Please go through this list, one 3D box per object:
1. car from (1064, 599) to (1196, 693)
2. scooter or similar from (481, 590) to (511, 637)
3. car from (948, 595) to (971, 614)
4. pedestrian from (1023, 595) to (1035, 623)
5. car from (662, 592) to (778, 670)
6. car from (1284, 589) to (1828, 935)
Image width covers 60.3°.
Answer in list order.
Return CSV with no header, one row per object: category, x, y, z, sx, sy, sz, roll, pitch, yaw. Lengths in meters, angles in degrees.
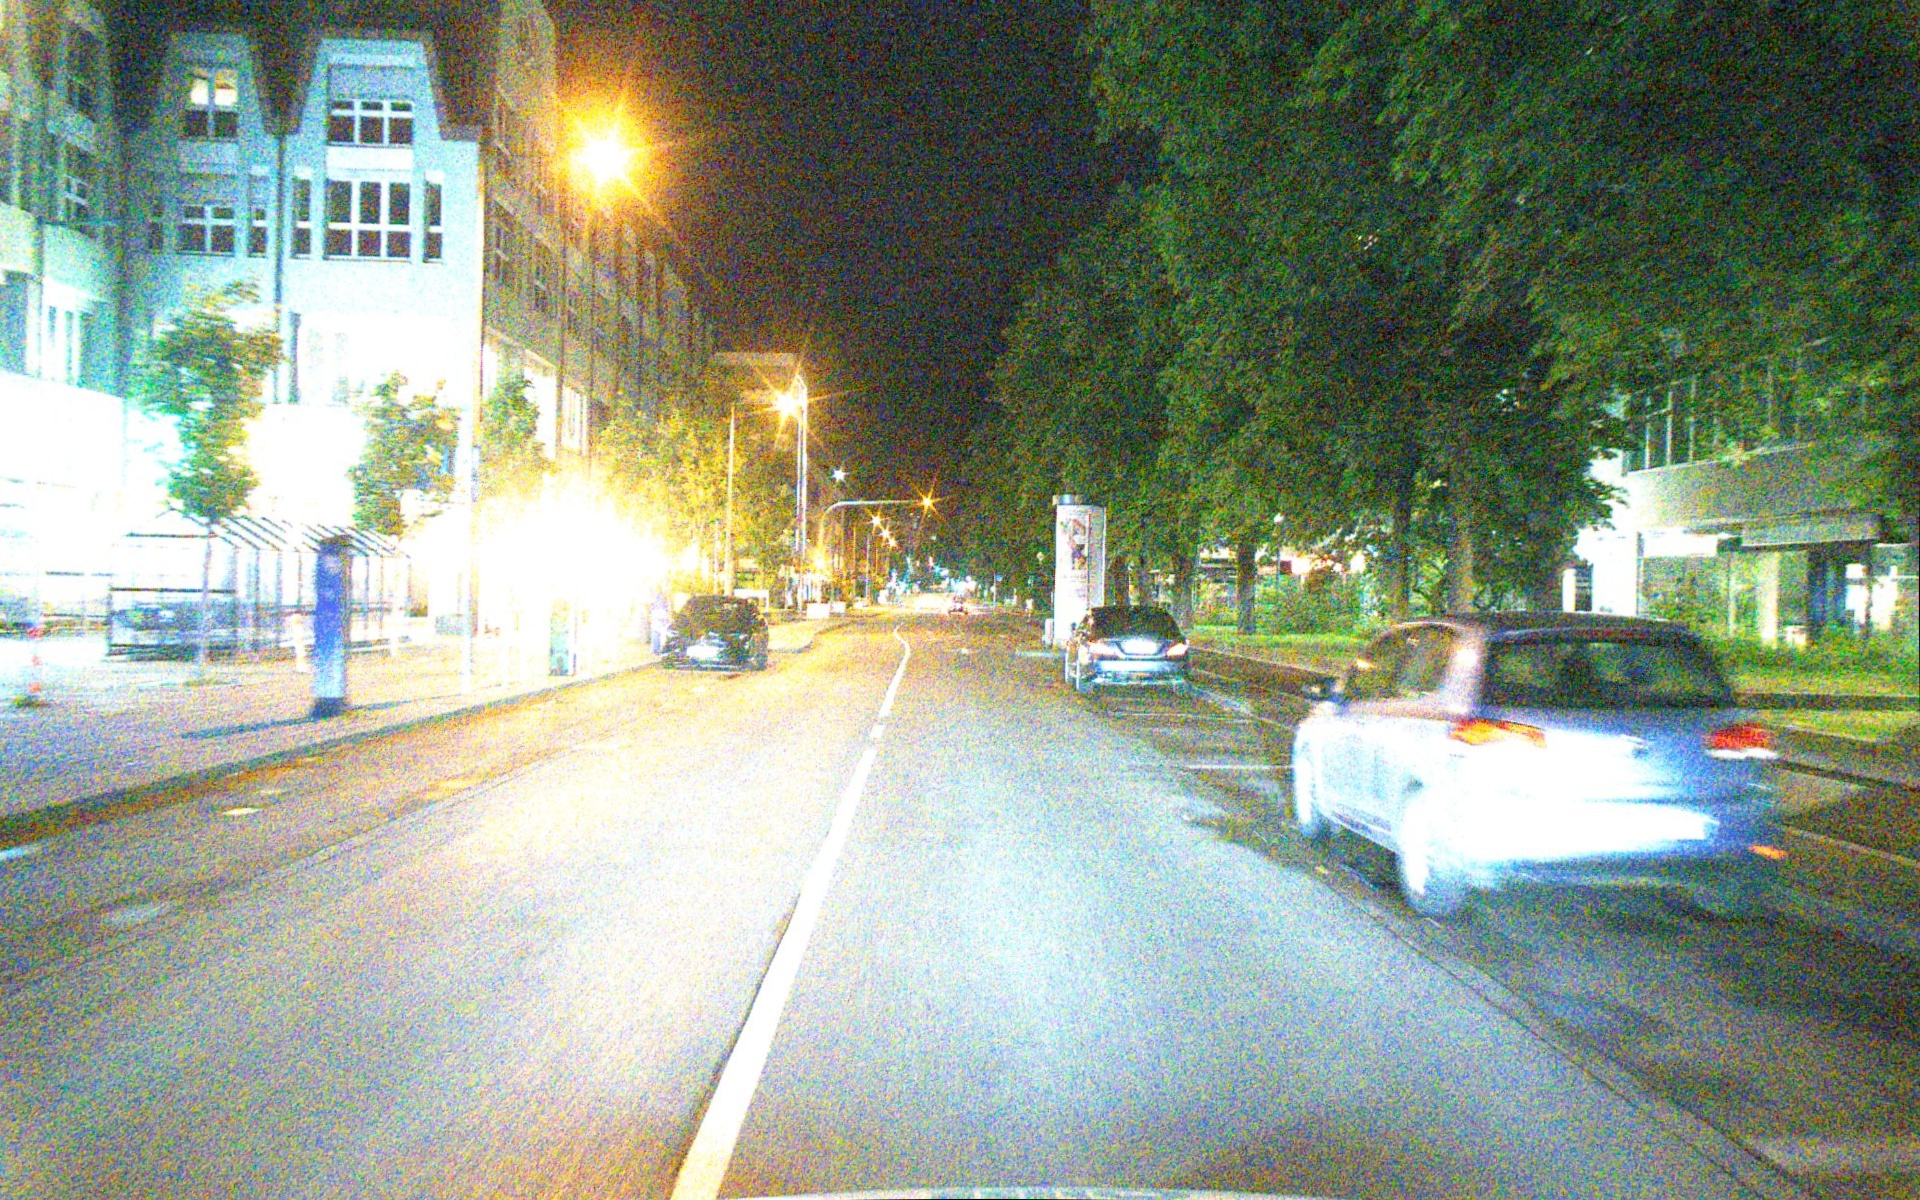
car,2.806,0.708,28.195,1.728,1.439,4.807,0,0,0
scooter or similar,-12.541,0.354,44.752,0.379,1.242,1.344,1,0,2
car,-0.083,0.369,148.854,1.953,1.672,3.999,0,0,-1
pedestrian,4.574,0.564,109.794,0.688,1.850,1.082,0,0,0
car,-4.844,0.583,33.978,1.706,1.438,4.495,2,0,0
car,3.094,0.725,9.494,1.655,1.563,4.015,0,0,0
